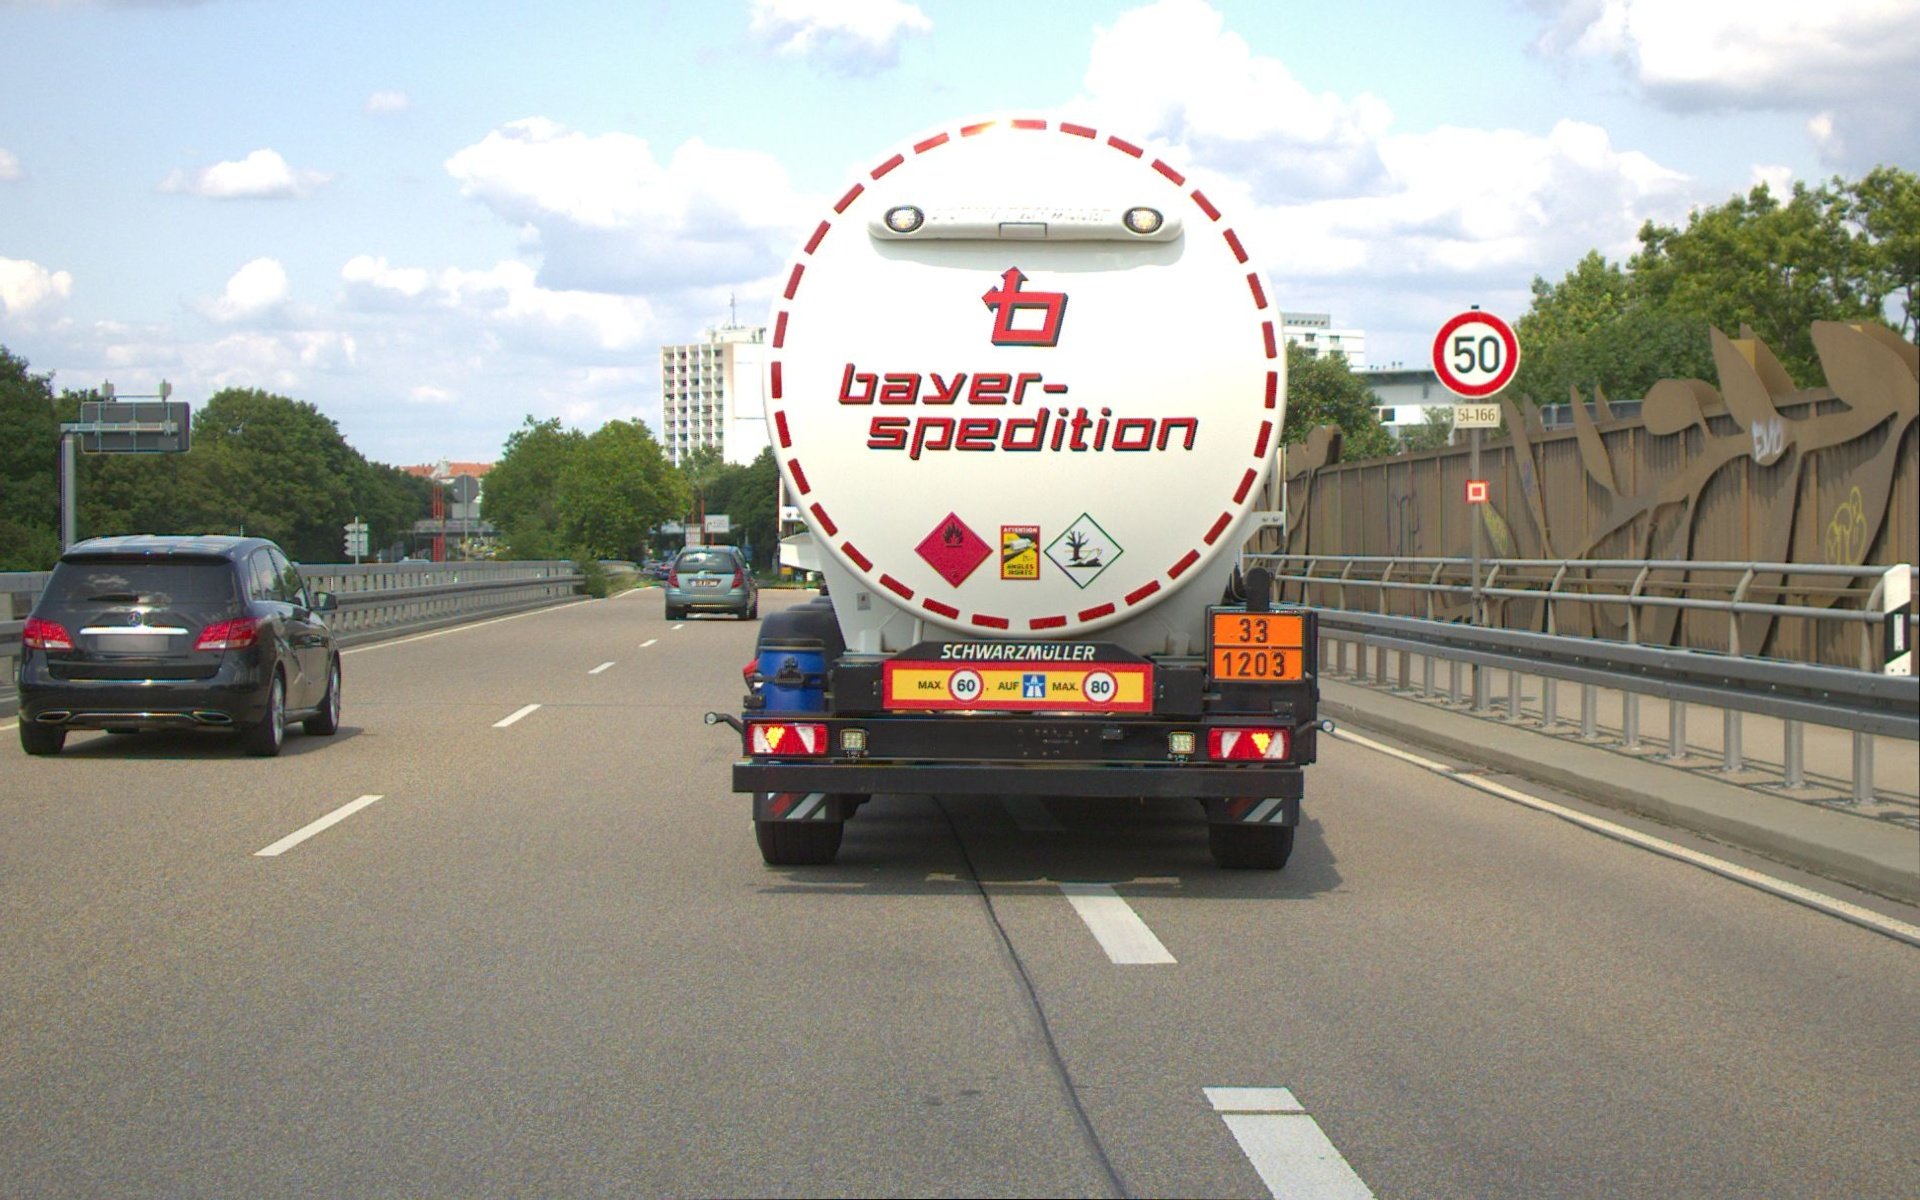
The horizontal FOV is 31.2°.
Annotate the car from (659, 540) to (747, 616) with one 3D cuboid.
[{"bbox_3d":[-5.470,-0.487,73.539,1.747,1.526,4.001,0,2,-3],"label":"car"}]

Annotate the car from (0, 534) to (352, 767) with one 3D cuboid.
[{"bbox_3d":[-5.670,0.296,25.322,1.711,1.522,4.593,1,1,-2],"label":"car"}]

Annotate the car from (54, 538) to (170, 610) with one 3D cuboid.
[{"bbox_3d":[-20.415,-0.653,82.882,1.993,1.634,4.001,1,1,-3],"label":"car"}]

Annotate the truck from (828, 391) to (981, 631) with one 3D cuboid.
[{"bbox_3d":[-1.266,-1.881,73.445,2.895,4.791,8.031,1,1,-3],"label":"truck"}]

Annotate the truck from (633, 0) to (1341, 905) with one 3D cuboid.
[{"bbox_3d":[0.291,-1.004,18.441,2.895,4.353,8.029,1,1,3],"label":"truck"}]
